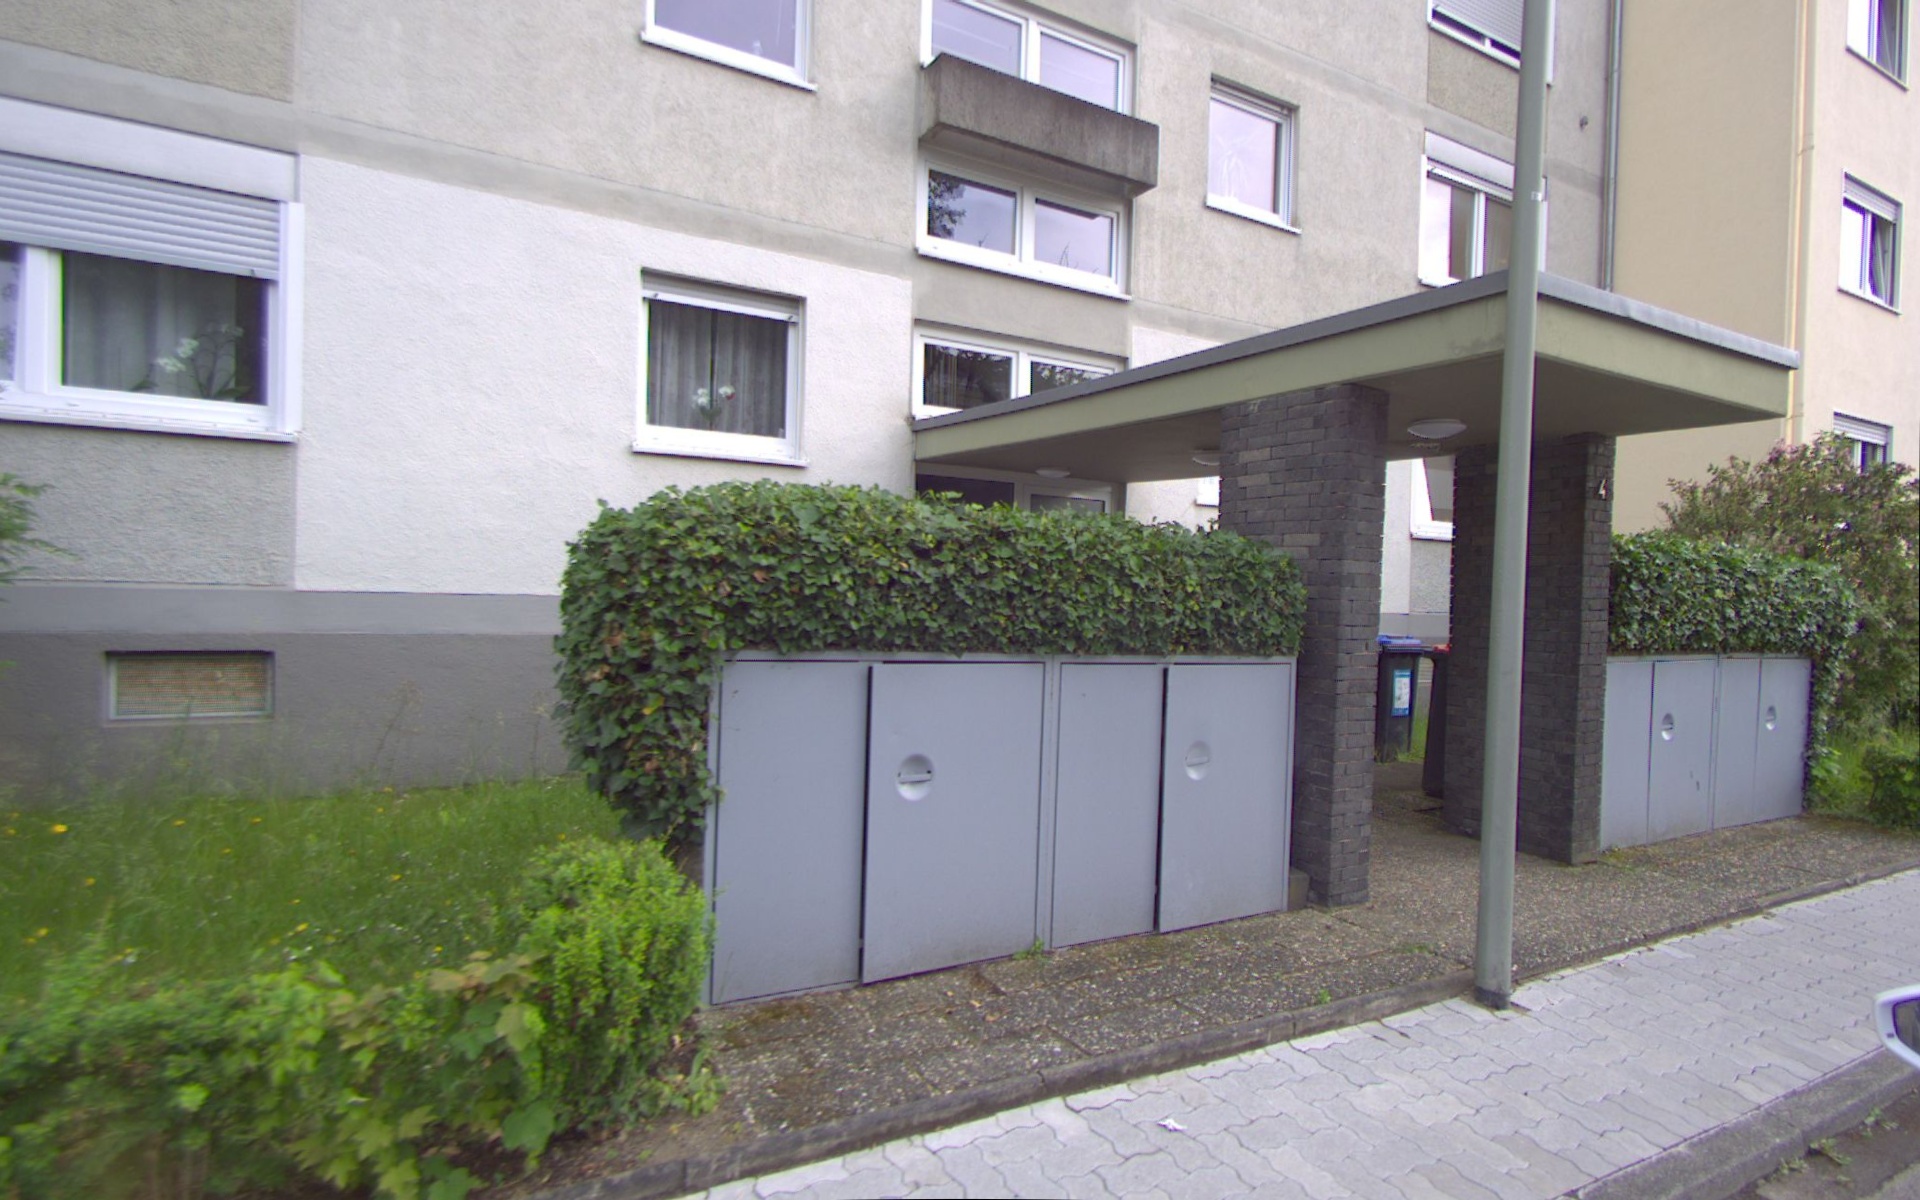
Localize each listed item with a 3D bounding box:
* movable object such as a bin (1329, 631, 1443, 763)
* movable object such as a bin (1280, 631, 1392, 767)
[{"bbox_3d":[3.643,0.802,8.606,0.657,1.048,0.621,1,0,-30],"label":"movable object such as a bin"},{"bbox_3d":[3.092,0.788,8.281,0.582,1.048,0.621,1,0,-30],"label":"movable object such as a bin"}]
